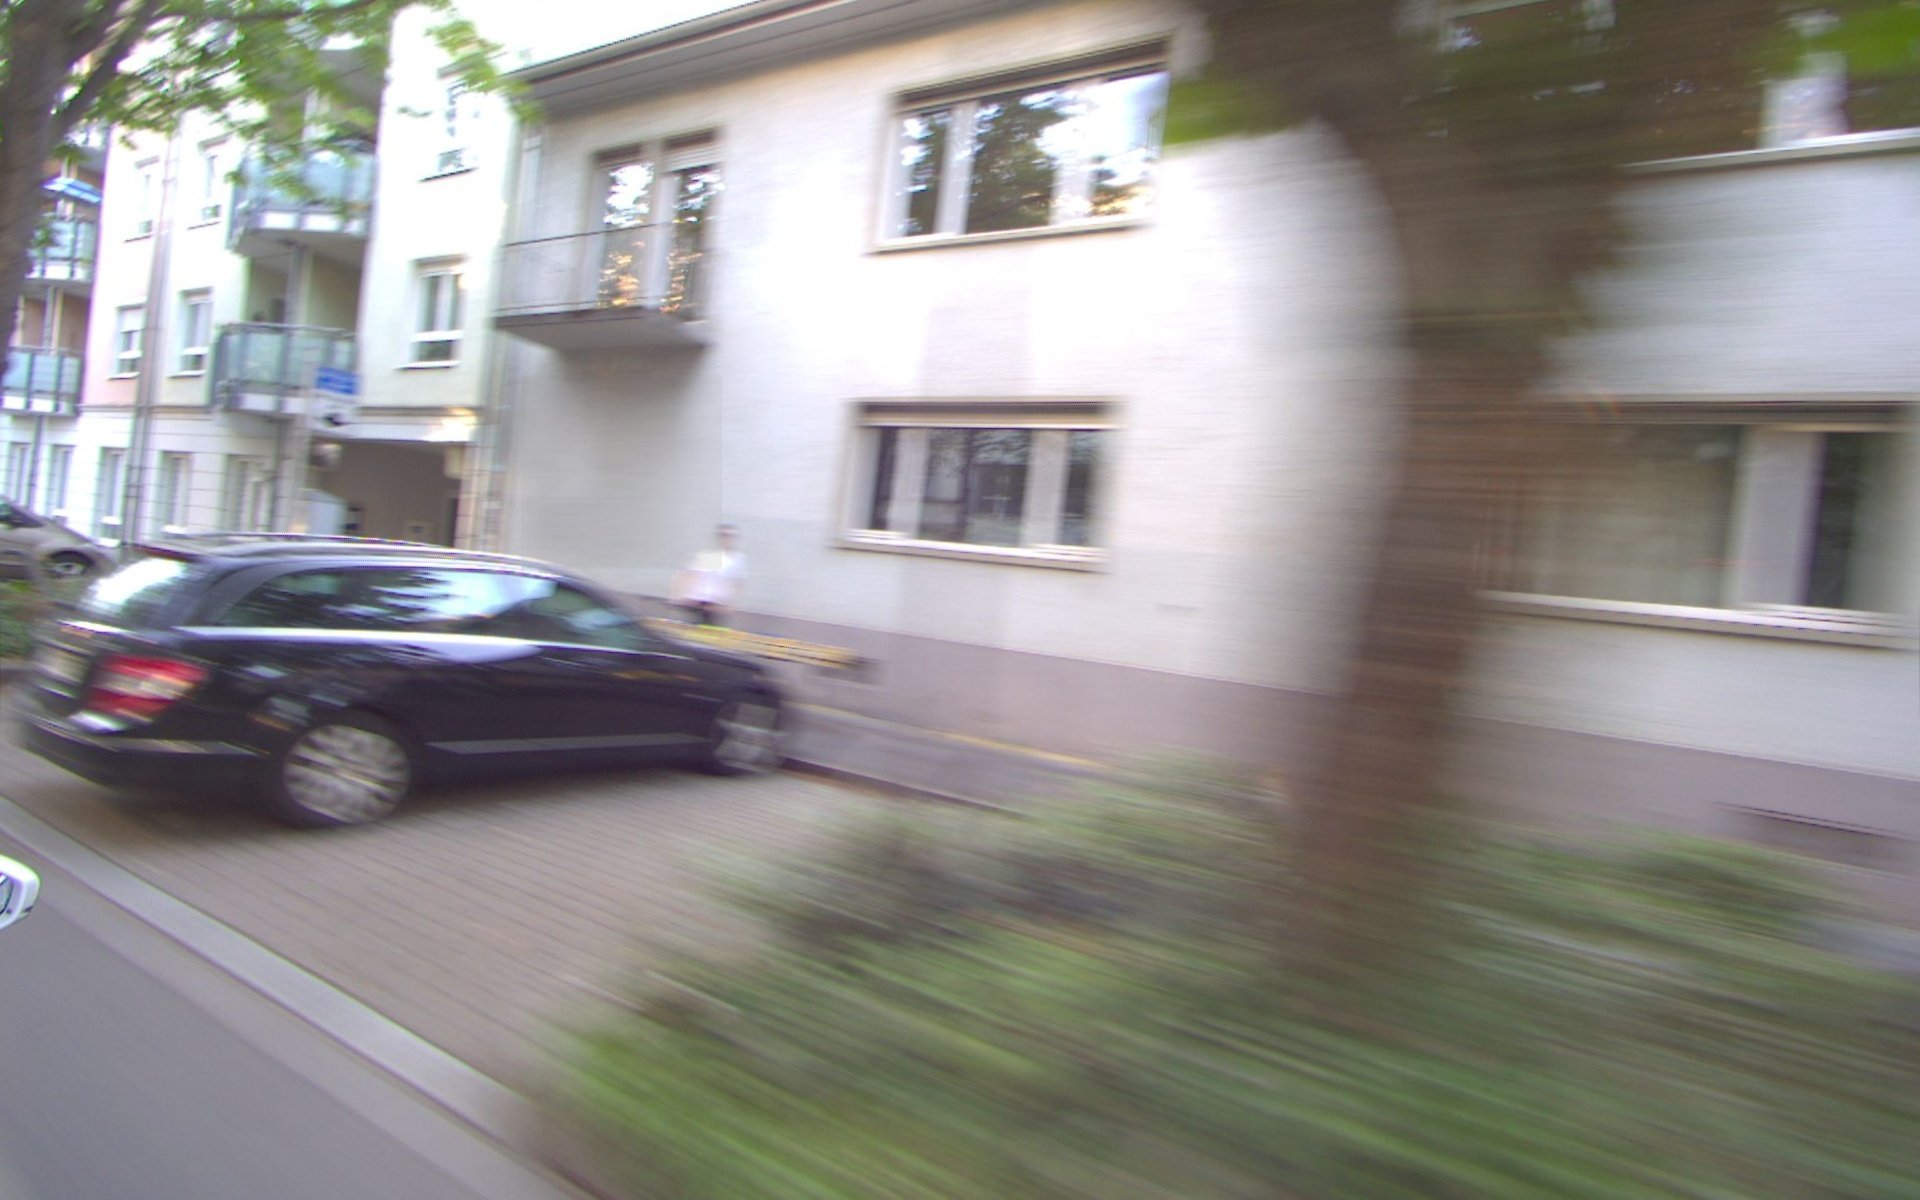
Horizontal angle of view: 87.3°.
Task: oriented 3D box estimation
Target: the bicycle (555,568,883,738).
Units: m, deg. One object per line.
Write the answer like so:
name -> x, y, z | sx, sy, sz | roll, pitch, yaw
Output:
bicycle -> -2.395, 0.457, 9.694 | 3.341, 1.178, 0.622 | 7, 0, 26

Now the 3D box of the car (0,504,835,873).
car -> -3.093, 0.380, 6.452 | 1.980, 1.446, 4.455 | 6, 2, 36

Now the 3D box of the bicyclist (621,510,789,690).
bicyclist -> -2.538, 0.009, 10.059 | 1.116, 1.624, 0.972 | 7, 0, 27

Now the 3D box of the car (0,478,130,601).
car -> -13.949, -0.939, 13.451 | 1.884, 1.606, 3.971 | 7, 2, 31
